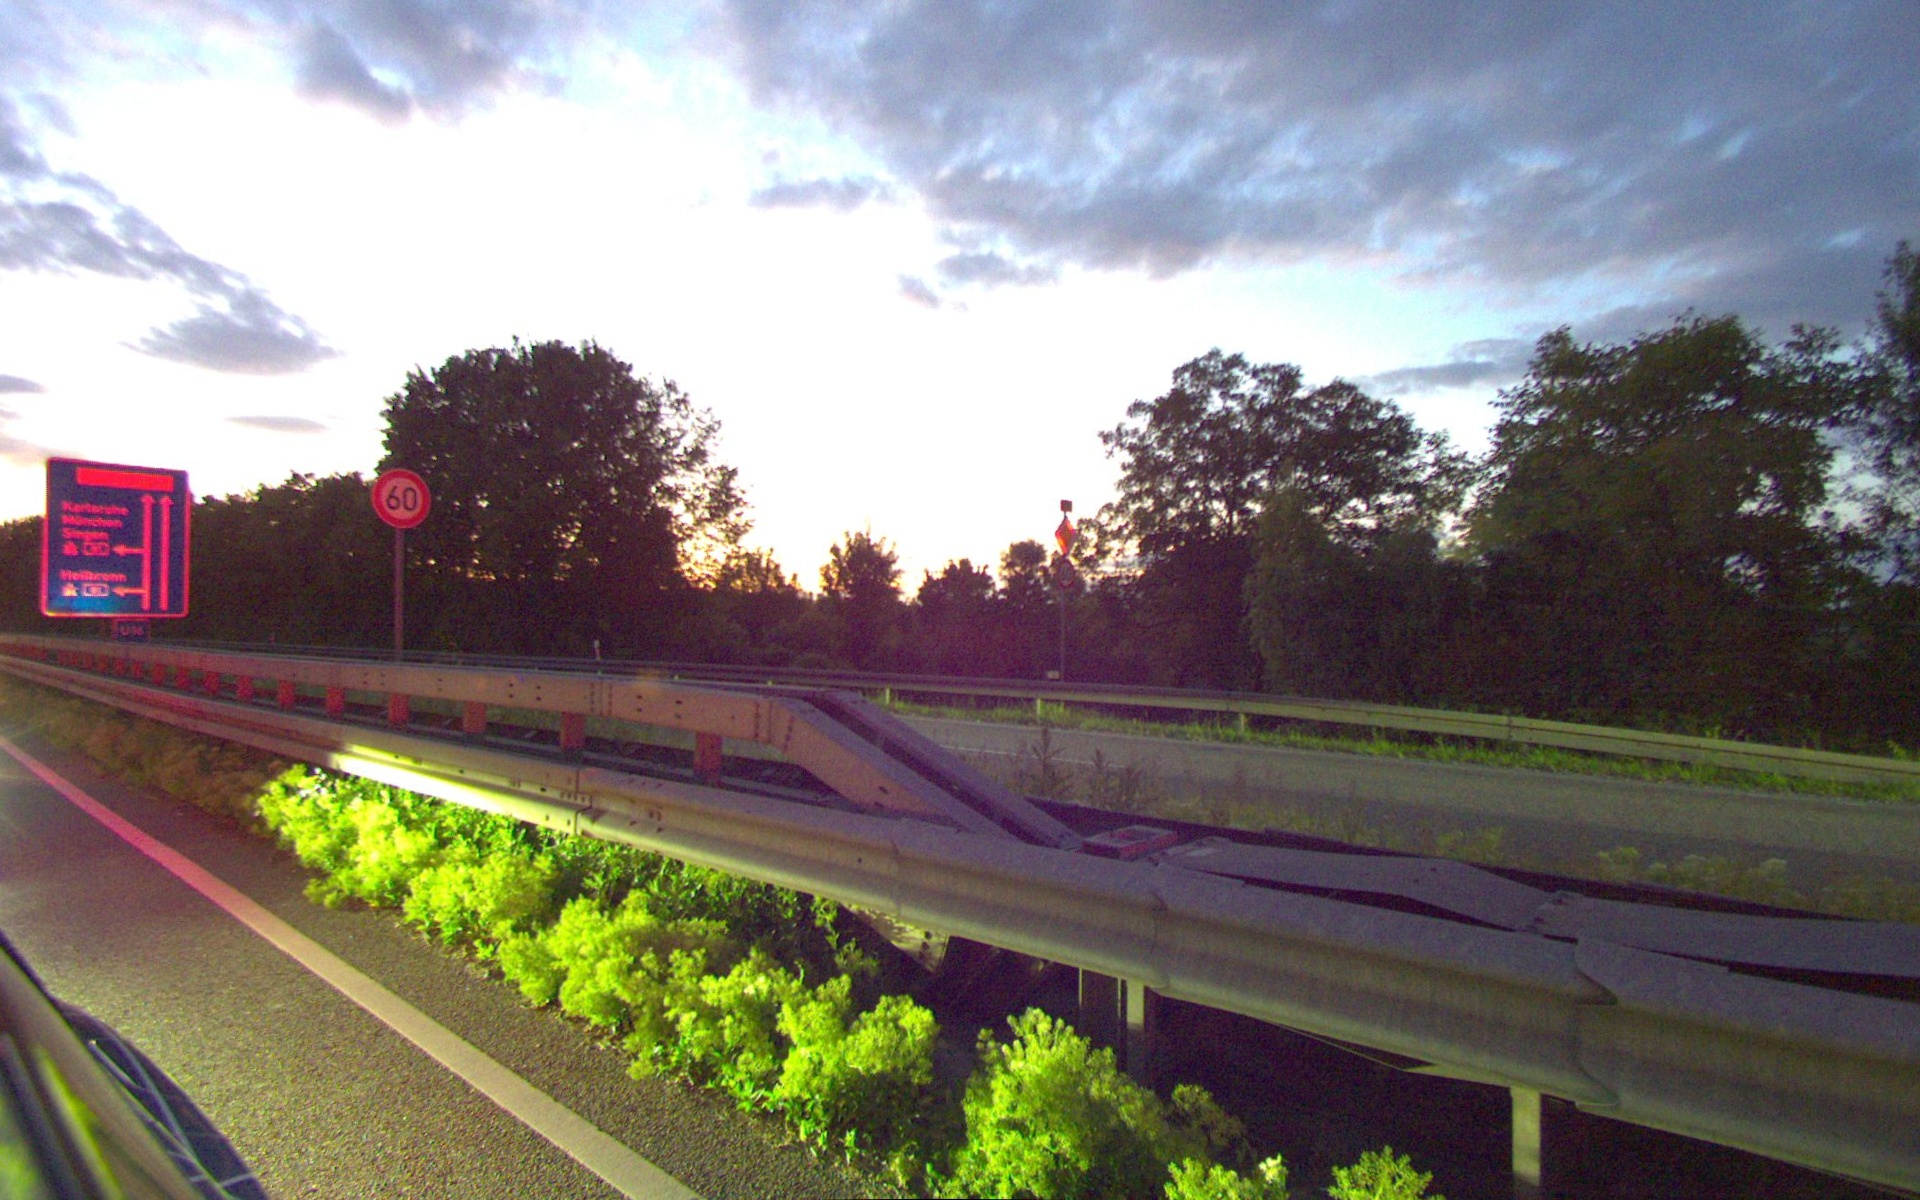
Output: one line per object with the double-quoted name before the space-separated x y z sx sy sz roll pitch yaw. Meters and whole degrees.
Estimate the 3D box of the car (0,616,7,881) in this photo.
"car" -7.703 0.880 6.466 4.511 1.492 1.877 -1 -1 40
